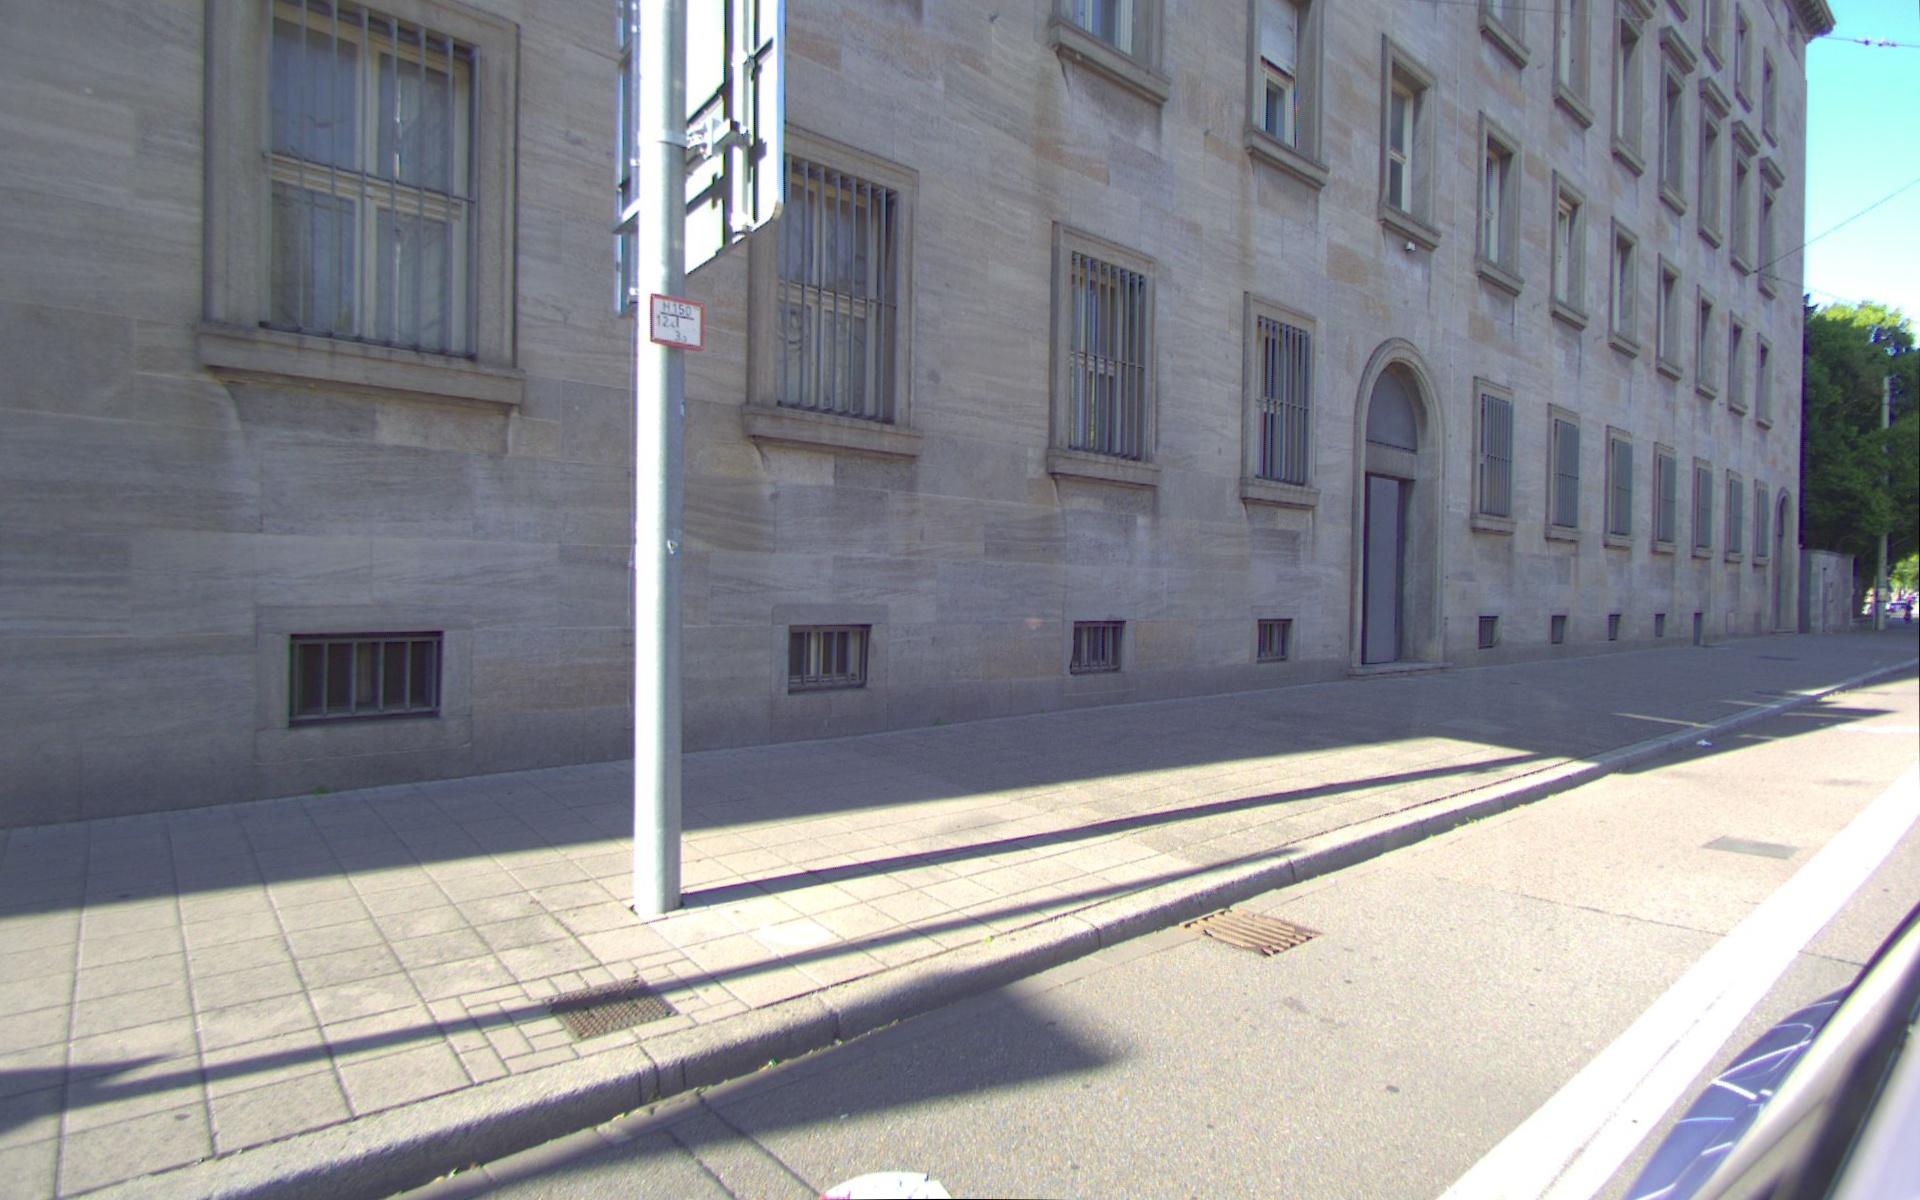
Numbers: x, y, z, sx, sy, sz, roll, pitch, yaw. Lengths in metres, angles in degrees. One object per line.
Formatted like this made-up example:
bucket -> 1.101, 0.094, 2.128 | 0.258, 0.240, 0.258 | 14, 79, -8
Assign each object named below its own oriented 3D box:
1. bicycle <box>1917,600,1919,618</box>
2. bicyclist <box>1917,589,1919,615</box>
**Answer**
bicycle -> 66.889, 0.594, 70.182 | 1.630, 1.236, 0.624 | 0, -1, -41
bicyclist -> 66.982, 0.124, 70.281 | 0.676, 1.761, 0.624 | 0, -1, -41
